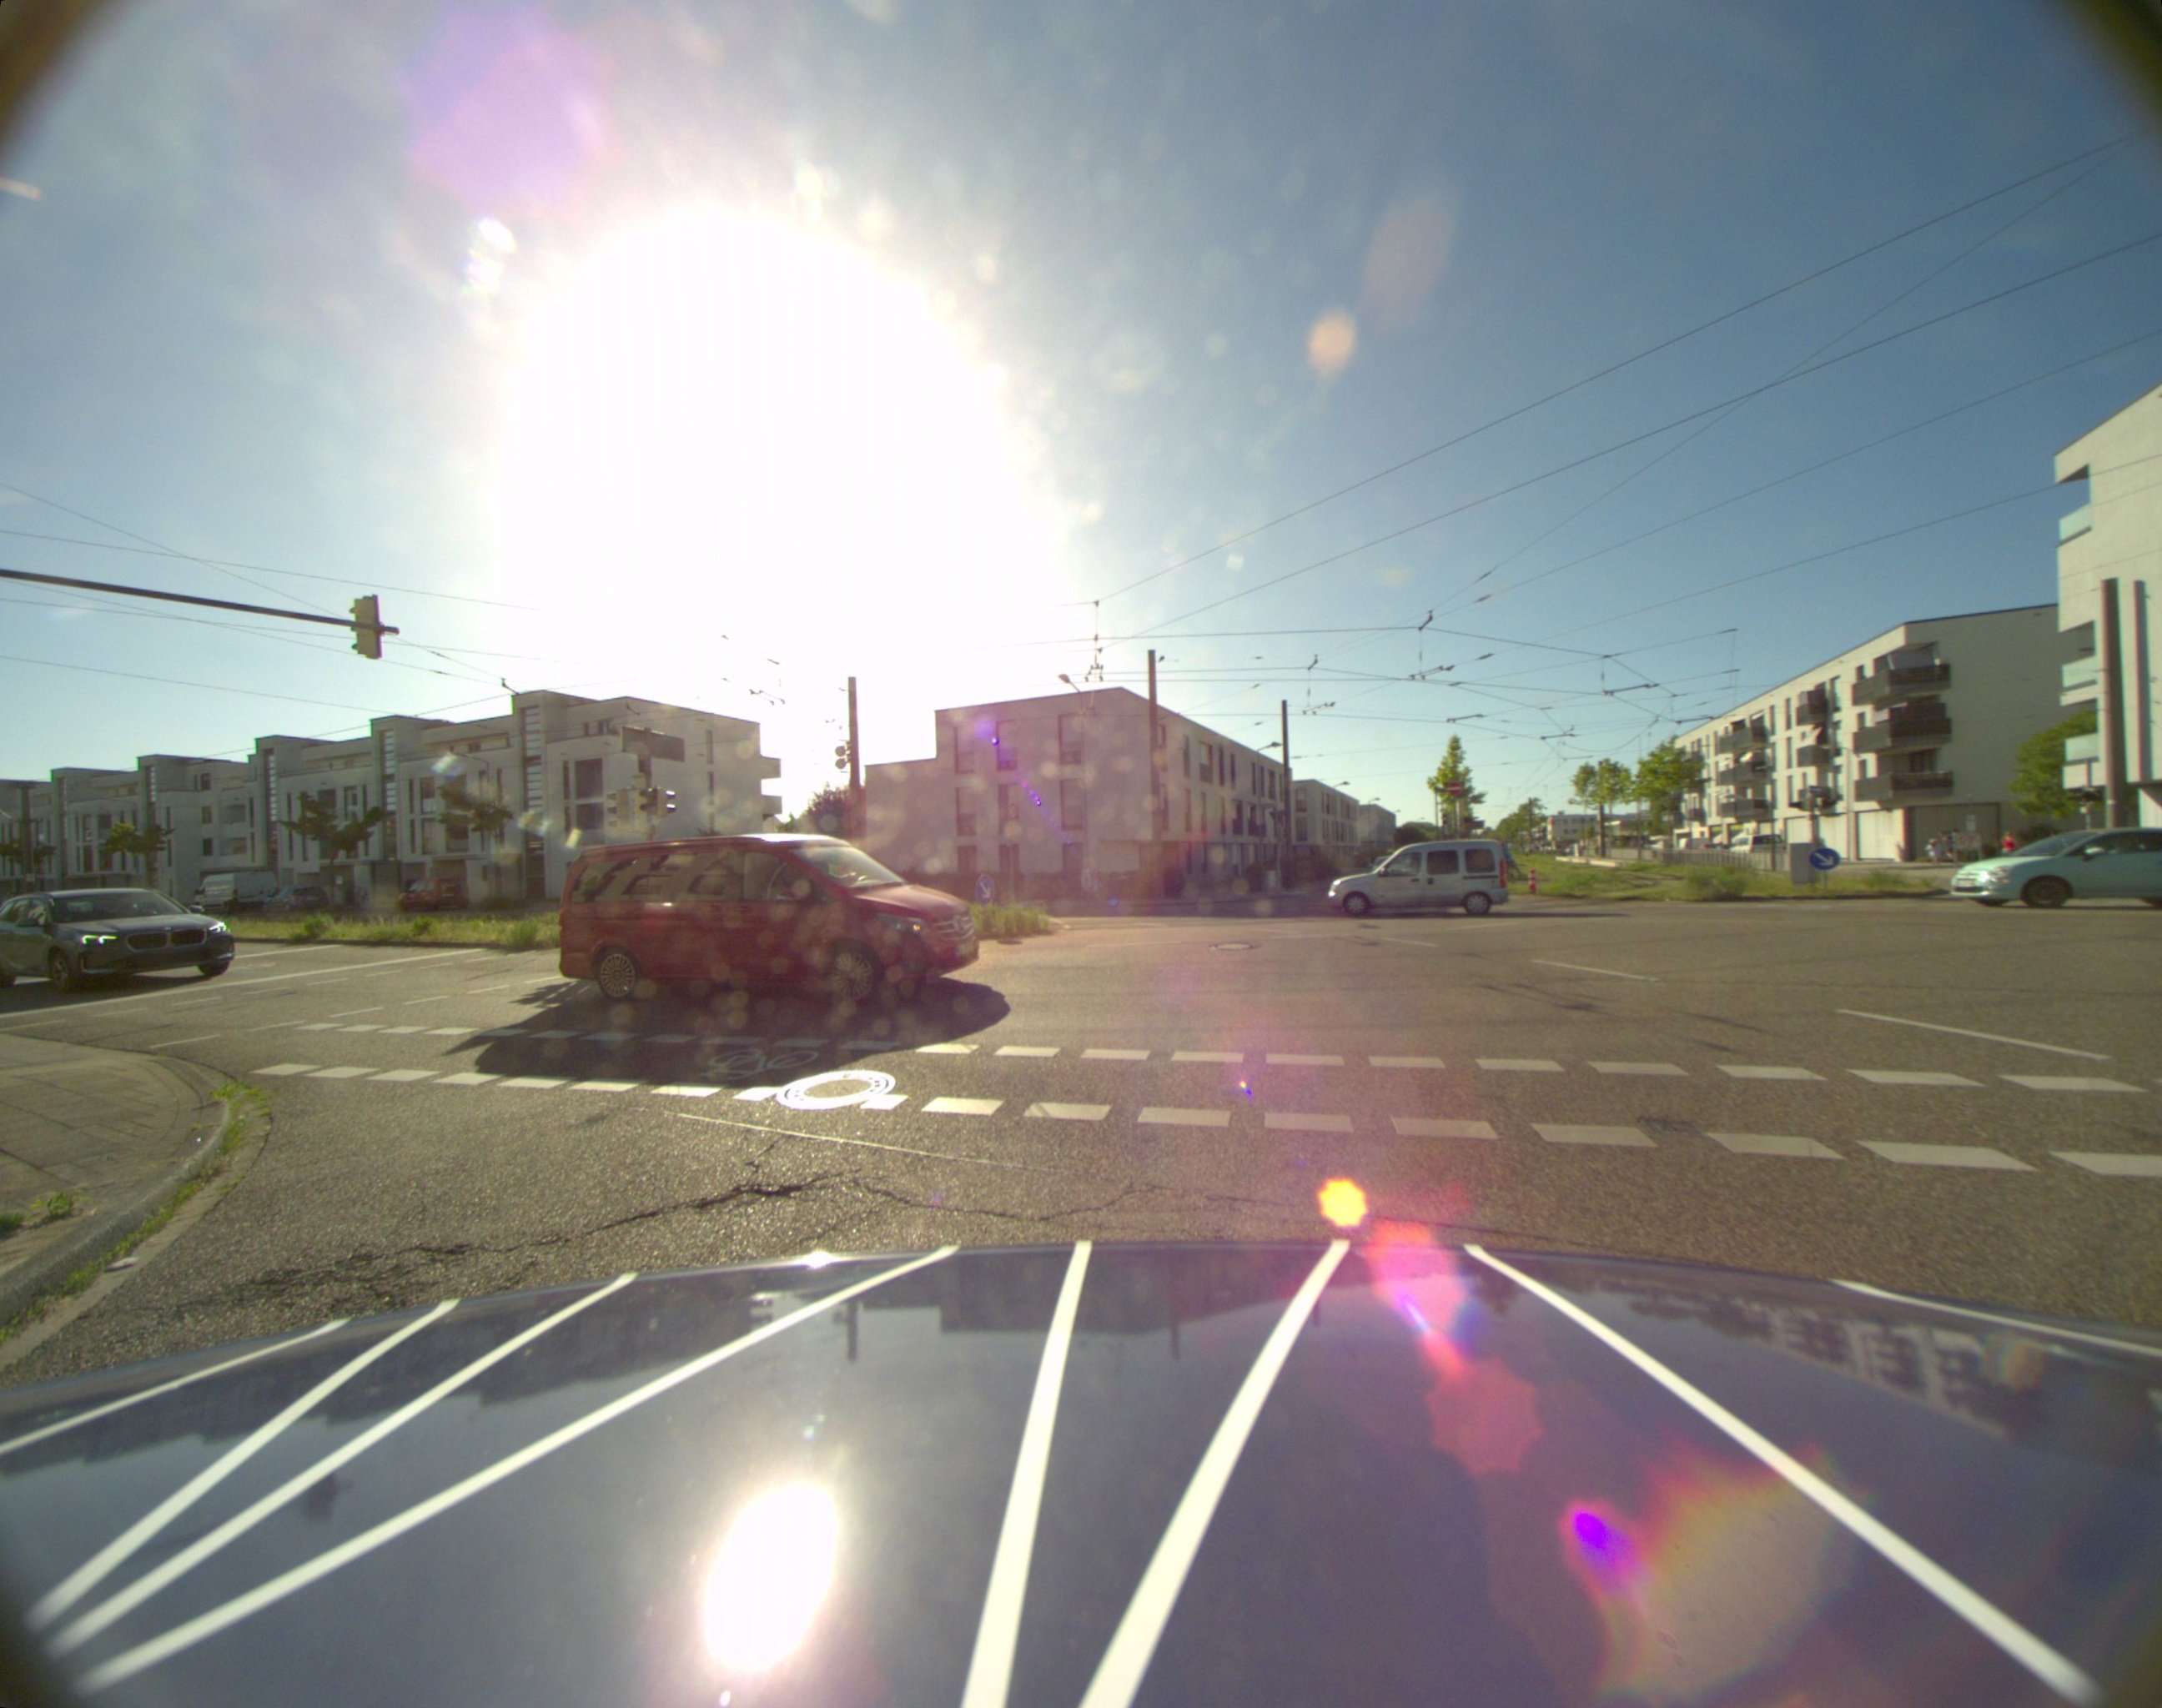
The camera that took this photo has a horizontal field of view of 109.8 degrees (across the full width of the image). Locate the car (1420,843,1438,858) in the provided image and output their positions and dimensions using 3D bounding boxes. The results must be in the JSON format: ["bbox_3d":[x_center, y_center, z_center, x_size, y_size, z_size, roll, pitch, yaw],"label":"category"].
[{"bbox_3d":[47.318,-0.462,103.398,1.995,2.002,4.006,-2,0,22],"label":"car"}]

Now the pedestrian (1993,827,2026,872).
[{"bbox_3d":[35.303,-0.174,28.897,0.576,1.677,0.750,-5,3,-45],"label":"pedestrian"}]

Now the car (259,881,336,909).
[{"bbox_3d":[-47.170,2.469,45.756,3.827,1.603,1.939,-2,0,23],"label":"car"}]

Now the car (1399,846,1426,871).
[{"bbox_3d":[28.039,0.342,64.174,1.995,2.002,4.006,-2,0,24],"label":"car"}]

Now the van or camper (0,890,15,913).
[{"bbox_3d":[-92.495,4.083,63.618,6.271,1.838,2.277,-2,1,22],"label":"van or camper"}]

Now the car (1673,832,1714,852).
[{"bbox_3d":[52.958,-1.090,65.770,1.995,1.544,4.006,-1,2,27],"label":"car"}]

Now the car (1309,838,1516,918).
[{"bbox_3d":[7.984,0.577,18.513,4.351,1.745,2.003,-2,0,25],"label":"car"}]

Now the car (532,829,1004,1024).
[{"bbox_3d":[-3.767,0.800,9.407,5.074,1.958,2.131,-2,2,16],"label":"car"}]

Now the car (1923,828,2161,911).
[{"bbox_3d":[19.226,0.313,14.608,3.535,1.478,2.004,-2,-2,25],"label":"car"}]

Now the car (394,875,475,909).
[{"bbox_3d":[-34.514,2.044,40.548,3.898,1.712,1.798,-2,-1,24],"label":"car"}]

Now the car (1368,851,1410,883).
[{"bbox_3d":[17.483,0.710,43.013,2.004,1.655,4.007,-2,0,24],"label":"car"}]

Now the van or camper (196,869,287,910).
[{"bbox_3d":[-53.404,2.262,48.346,5.247,2.450,2.202,-2,0,23],"label":"van or camper"}]

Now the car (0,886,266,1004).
[{"bbox_3d":[-17.002,1.491,13.389,4.398,1.663,2.002,-1,2,21],"label":"car"}]

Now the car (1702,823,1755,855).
[{"bbox_3d":[44.729,-1.051,52.565,1.995,2.002,4.006,-1,2,28],"label":"car"}]
